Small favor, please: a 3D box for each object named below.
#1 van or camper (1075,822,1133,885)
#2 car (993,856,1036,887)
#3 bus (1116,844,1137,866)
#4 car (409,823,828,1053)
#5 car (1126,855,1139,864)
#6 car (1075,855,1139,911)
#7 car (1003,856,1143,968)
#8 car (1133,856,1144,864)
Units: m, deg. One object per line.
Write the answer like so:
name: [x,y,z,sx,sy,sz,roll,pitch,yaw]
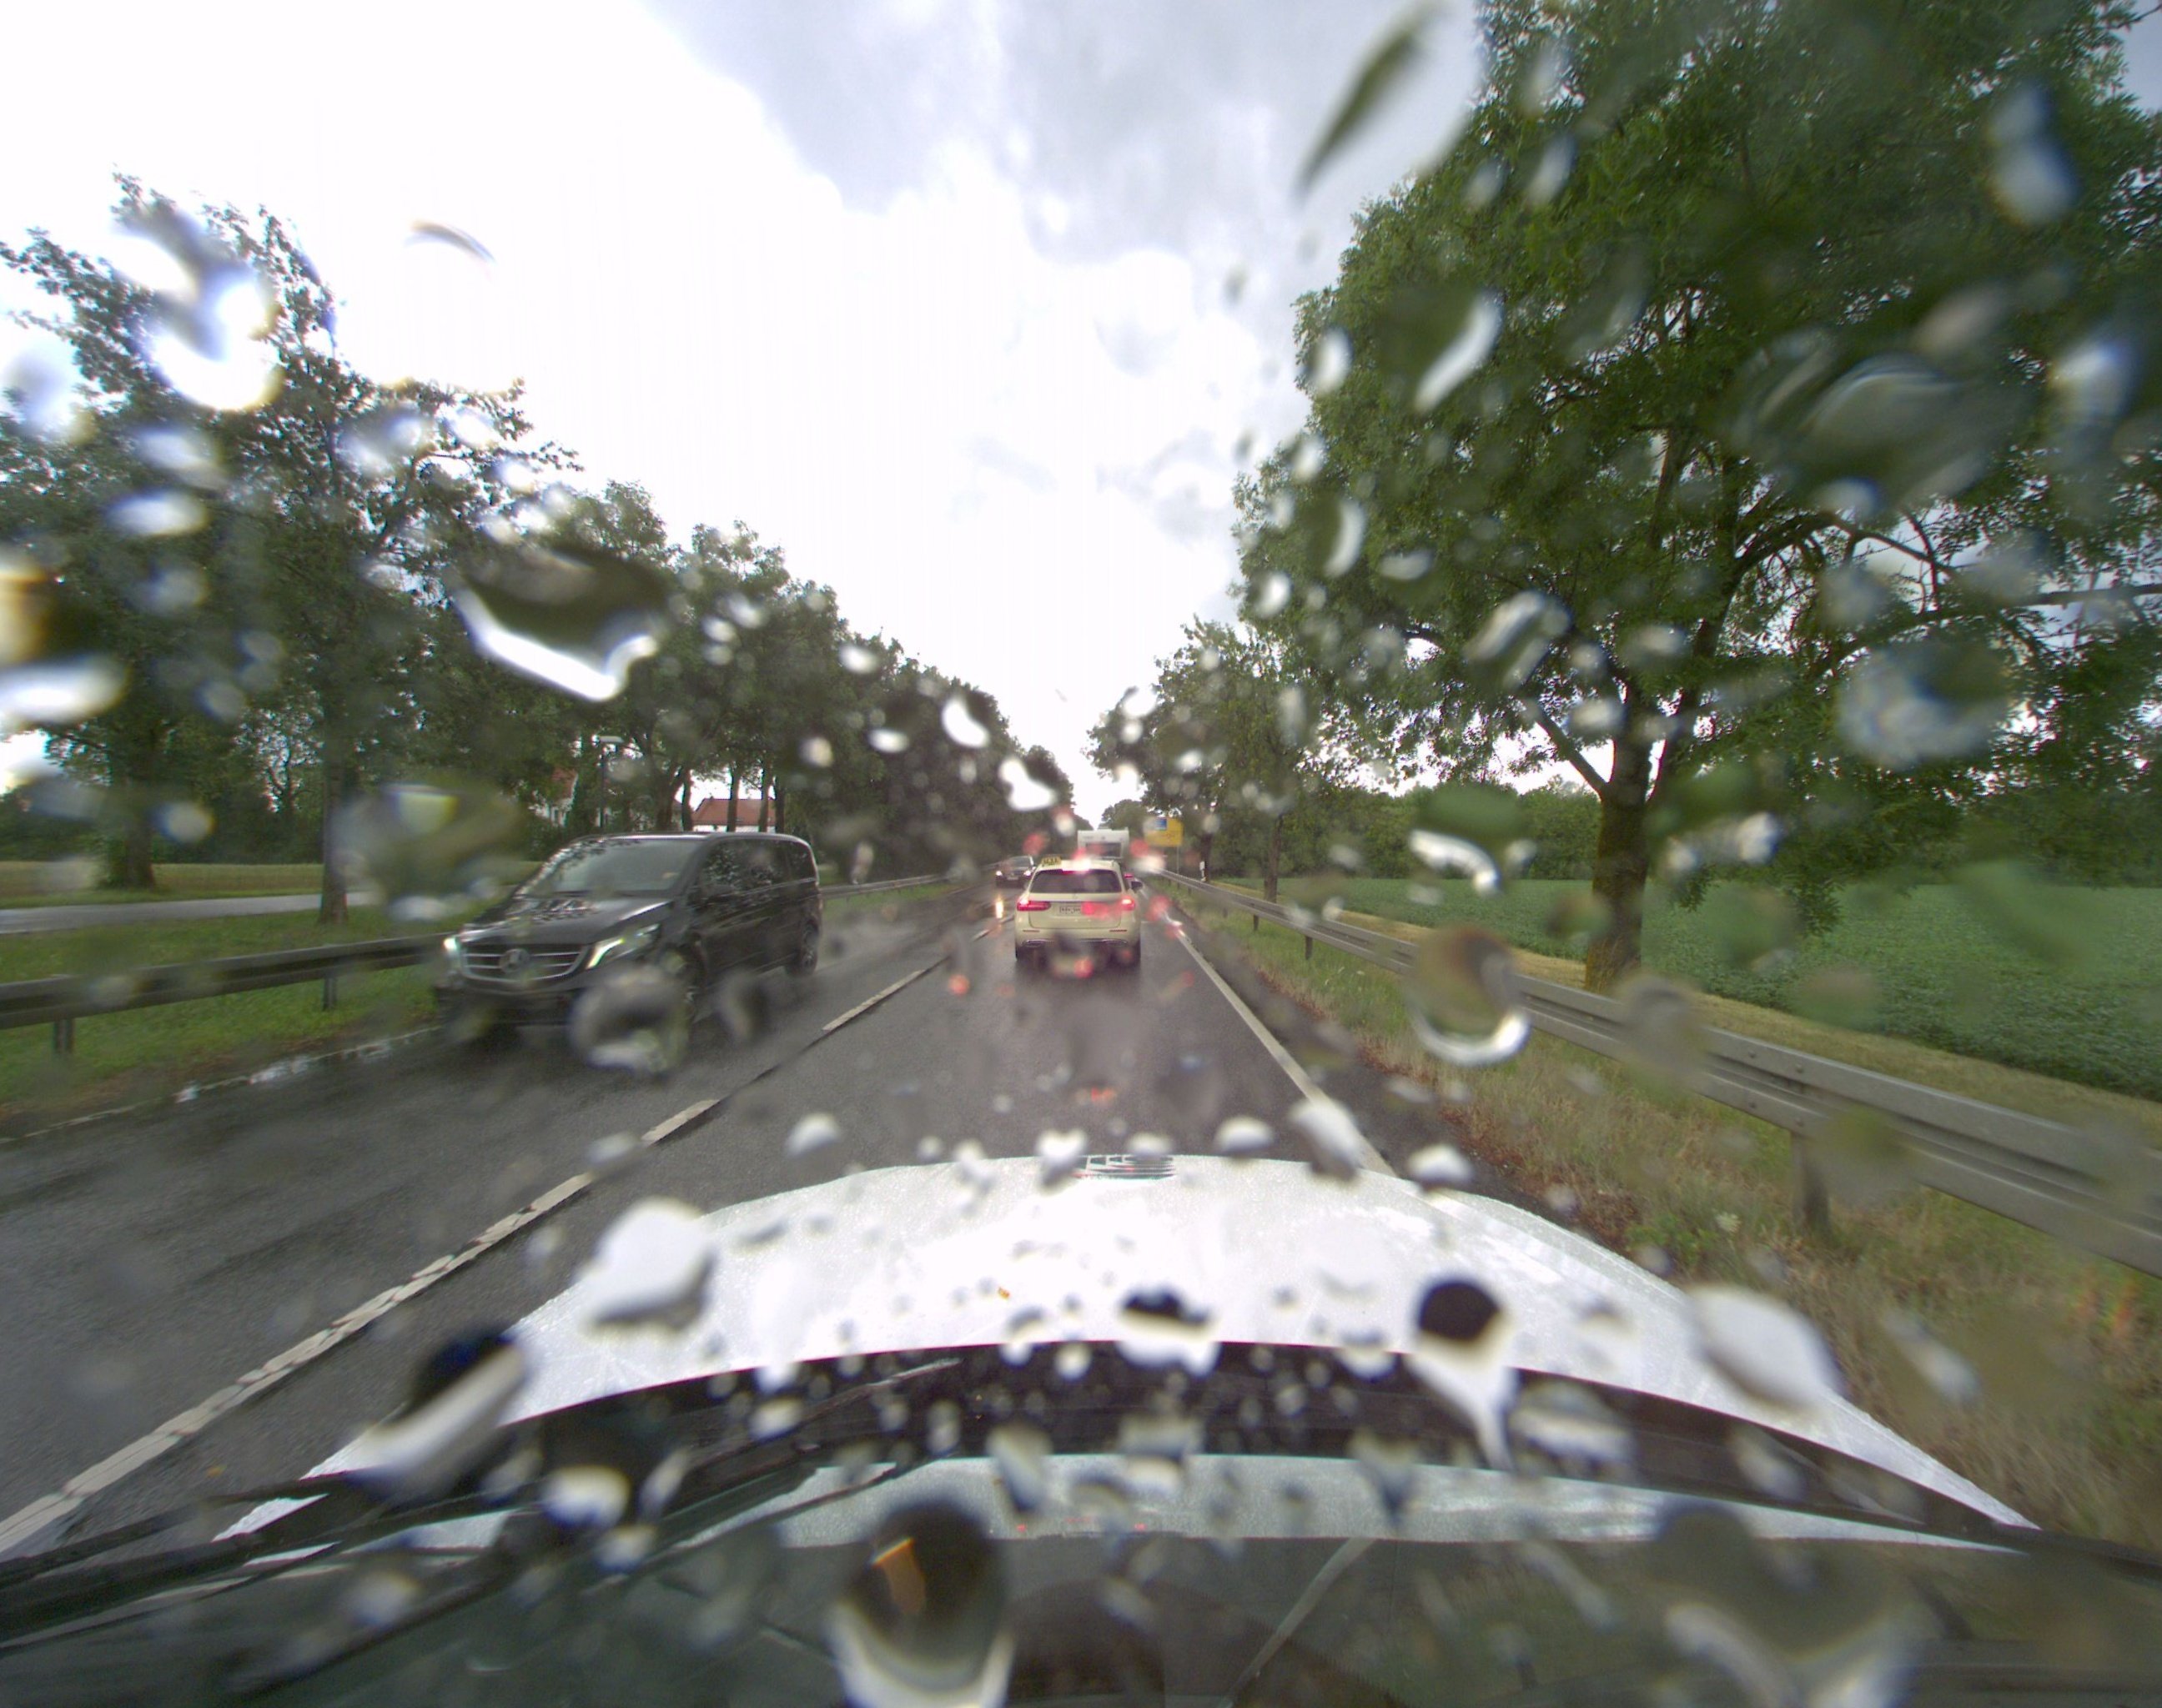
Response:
van or camper: [1.141,-0.026,38.047,2.479,2.685,5.705,0,0,3]
car: [-3.154,0.806,39.394,1.622,1.438,3.962,0,0,2]
bus: [4.499,0.102,81.134,1.986,2.013,4.002,-1,0,2]
car: [-4.379,0.673,8.704,1.821,1.803,4.416,-1,0,2]
car: [6.572,0.654,104.962,1.546,1.118,4.001,-1,-1,2]
car: [0.791,0.759,23.133,1.657,1.430,4.003,-1,0,3]
car: [0.002,0.785,12.934,1.857,1.476,4.003,-1,0,3]
car: [8.060,0.864,114.366,1.545,1.118,4.003,-1,-1,3]
